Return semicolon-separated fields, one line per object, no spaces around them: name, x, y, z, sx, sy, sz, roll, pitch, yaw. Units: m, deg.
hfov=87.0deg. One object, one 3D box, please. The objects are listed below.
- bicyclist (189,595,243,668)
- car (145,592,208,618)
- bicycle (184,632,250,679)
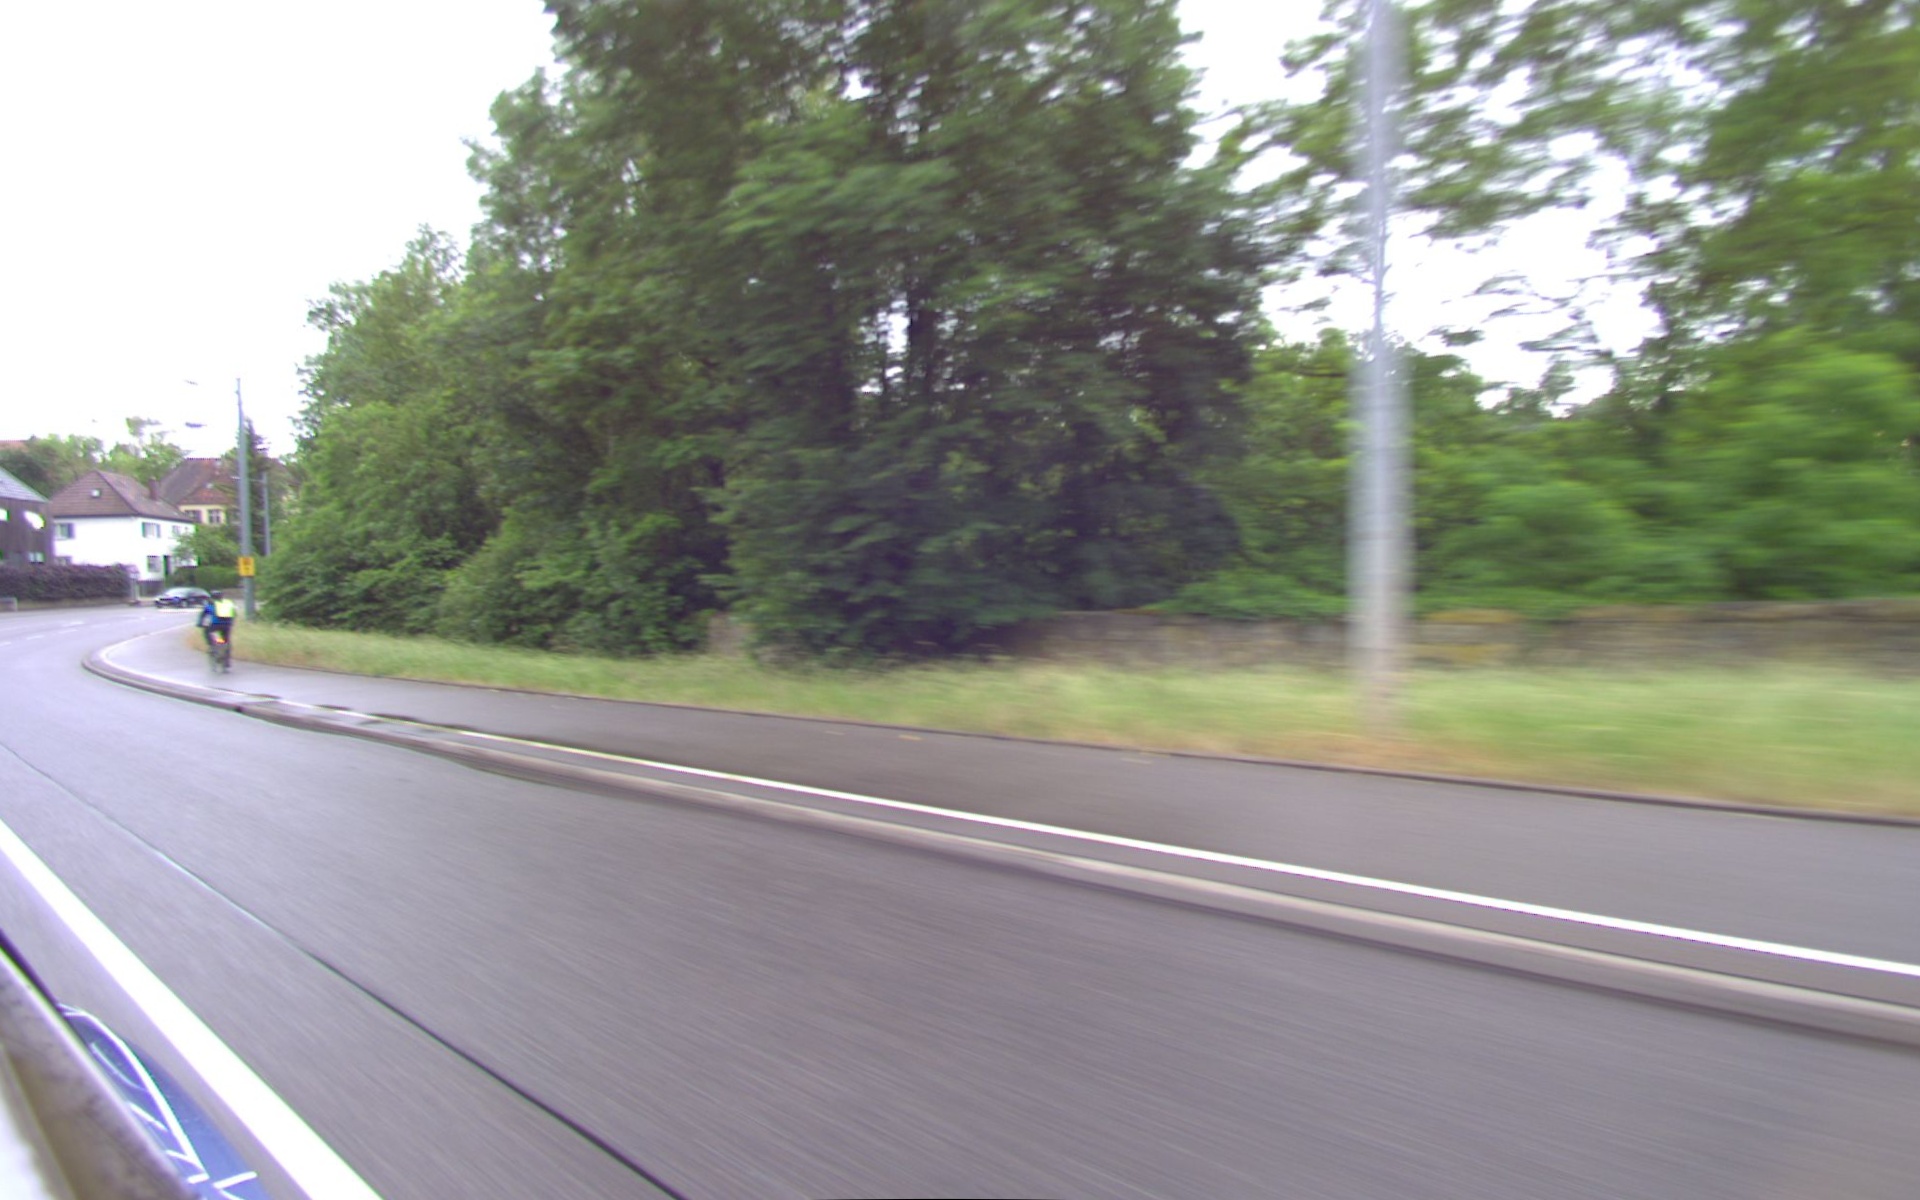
bicyclist;-16.866;0.699;22.946;1.171;1.567;0.701;-2;2;43
car;-58.142;0.349;75.190;1.968;1.729;4.008;-1;2;-8
bicycle;-16.944;1.236;23.058;2.550;0.949;0.716;-1;2;43
